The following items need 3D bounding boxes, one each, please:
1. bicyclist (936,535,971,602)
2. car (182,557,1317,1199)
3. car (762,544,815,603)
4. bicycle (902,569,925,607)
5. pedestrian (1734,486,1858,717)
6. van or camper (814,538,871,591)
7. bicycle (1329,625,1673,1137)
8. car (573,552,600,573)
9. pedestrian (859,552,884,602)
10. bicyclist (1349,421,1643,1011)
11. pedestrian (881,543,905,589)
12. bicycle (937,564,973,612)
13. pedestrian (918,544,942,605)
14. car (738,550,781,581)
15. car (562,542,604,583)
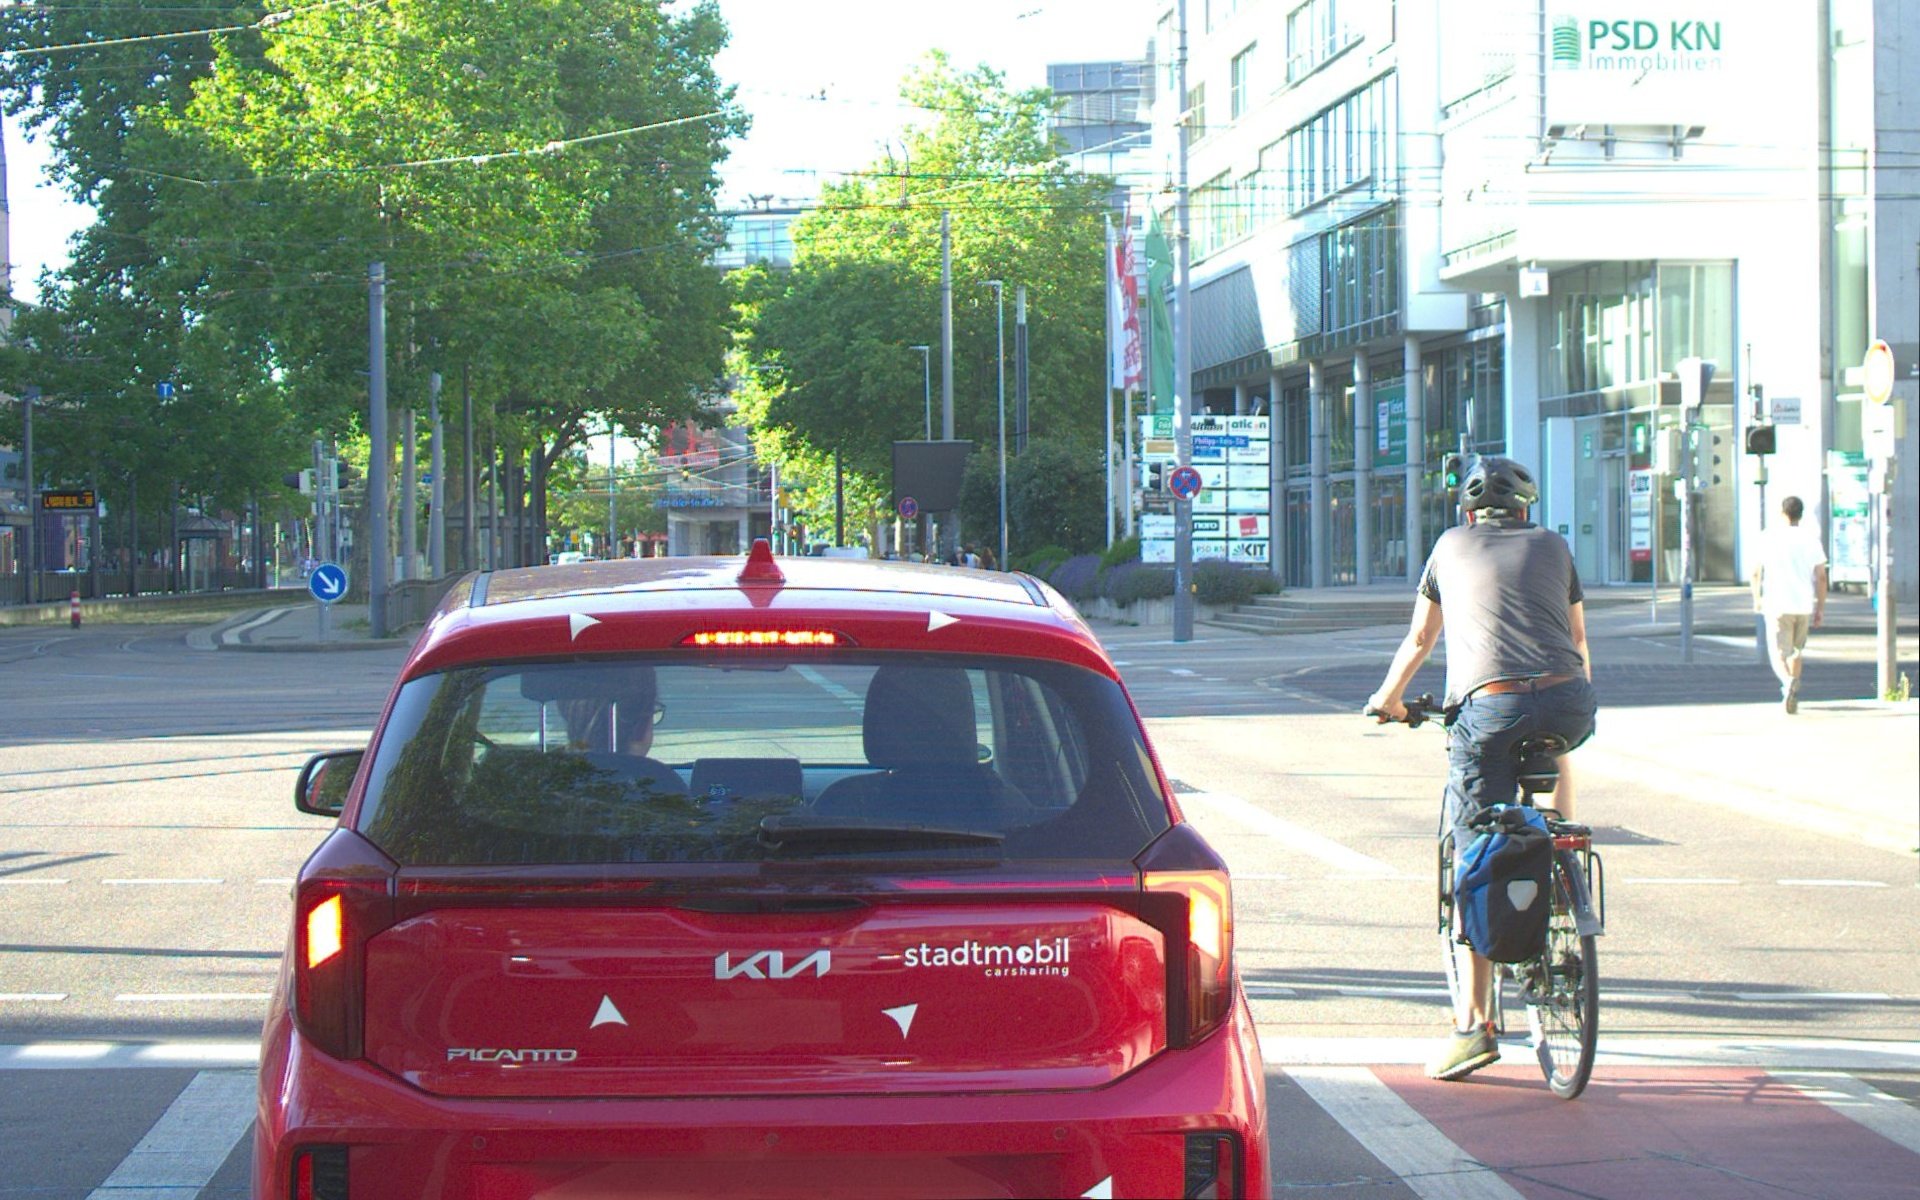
[{"bbox_3d":[-0.163,-0.772,84.357,0.721,1.597,1.089,-3,1,-4],"label":"bicyclist"},{"bbox_3d":[-0.443,0.692,6.603,1.613,1.529,3.412,0,1,-5],"label":"car"},{"bbox_3d":[-5.438,-0.847,108.691,1.635,1.794,3.330,-1,1,-3],"label":"car"},{"bbox_3d":[-1.300,-0.335,95.070,0.520,0.971,2.202,-4,2,-2],"label":"bicycle"},{"bbox_3d":[6.749,0.003,27.807,0.777,1.817,1.215,-1,1,4],"label":"pedestrian"},{"bbox_3d":[-4.535,-1.370,132.297,1.993,1.982,4.745,0,1,-4],"label":"van or camper"},{"bbox_3d":[1.513,0.738,9.921,0.650,1.276,1.966,-1,1,-1],"label":"bicycle"},{"bbox_3d":[-27.824,-2.818,255.840,1.777,1.529,3.413,0,1,-10],"label":"car"},{"bbox_3d":[-2.903,-0.754,112.345,0.641,1.574,0.723,-4,1,-6],"label":"pedestrian"},{"bbox_3d":[1.520,0.307,9.891,0.650,1.597,1.089,-1,1,-1],"label":"bicyclist"},{"bbox_3d":[-2.555,-1.291,131.640,0.891,1.747,0.841,-1,1,-1],"label":"pedestrian"},{"bbox_3d":[-0.122,-0.295,84.414,0.696,1.094,1.751,-4,2,-4],"label":"bicycle"},{"bbox_3d":[-0.836,-0.703,95.238,0.646,1.674,0.651,-1,1,-2],"label":"pedestrian"},{"bbox_3d":[-10.036,-1.719,171.858,1.777,1.529,3.513,0,1,-10],"label":"car"},{"bbox_3d":[-19.263,-1.930,175.573,1.993,2.007,4.001,-1,1,-8],"label":"car"}]
